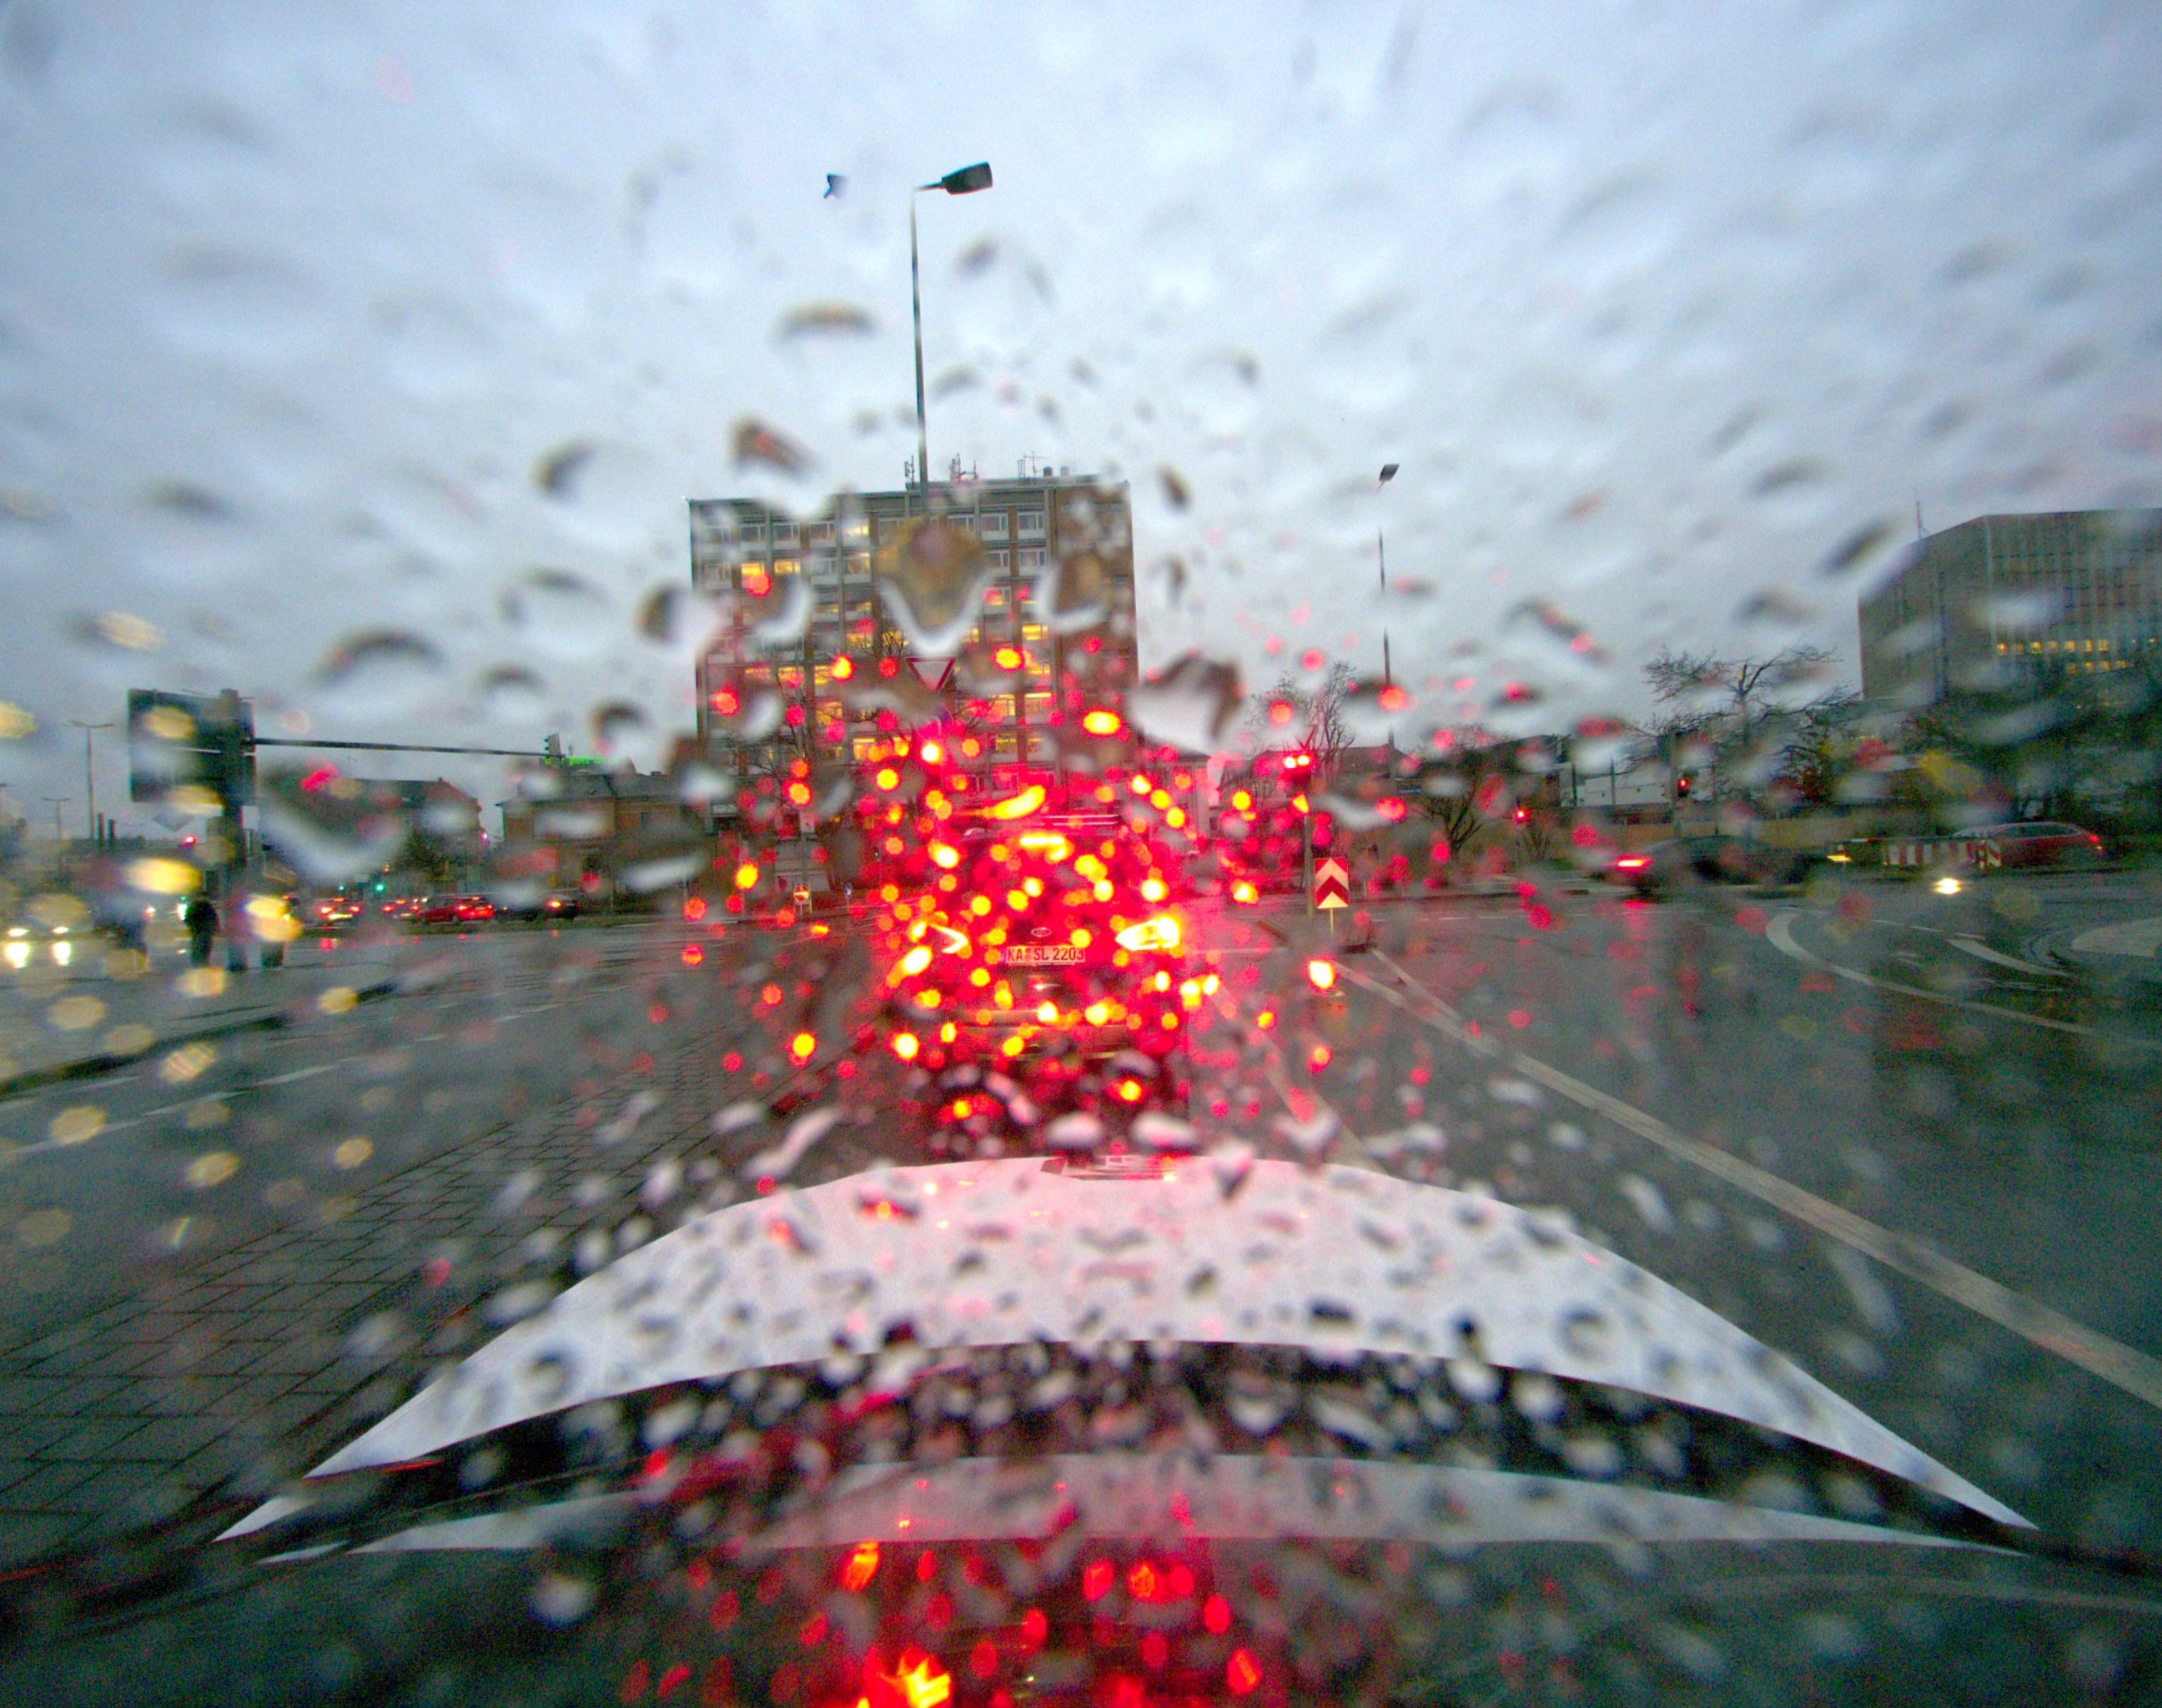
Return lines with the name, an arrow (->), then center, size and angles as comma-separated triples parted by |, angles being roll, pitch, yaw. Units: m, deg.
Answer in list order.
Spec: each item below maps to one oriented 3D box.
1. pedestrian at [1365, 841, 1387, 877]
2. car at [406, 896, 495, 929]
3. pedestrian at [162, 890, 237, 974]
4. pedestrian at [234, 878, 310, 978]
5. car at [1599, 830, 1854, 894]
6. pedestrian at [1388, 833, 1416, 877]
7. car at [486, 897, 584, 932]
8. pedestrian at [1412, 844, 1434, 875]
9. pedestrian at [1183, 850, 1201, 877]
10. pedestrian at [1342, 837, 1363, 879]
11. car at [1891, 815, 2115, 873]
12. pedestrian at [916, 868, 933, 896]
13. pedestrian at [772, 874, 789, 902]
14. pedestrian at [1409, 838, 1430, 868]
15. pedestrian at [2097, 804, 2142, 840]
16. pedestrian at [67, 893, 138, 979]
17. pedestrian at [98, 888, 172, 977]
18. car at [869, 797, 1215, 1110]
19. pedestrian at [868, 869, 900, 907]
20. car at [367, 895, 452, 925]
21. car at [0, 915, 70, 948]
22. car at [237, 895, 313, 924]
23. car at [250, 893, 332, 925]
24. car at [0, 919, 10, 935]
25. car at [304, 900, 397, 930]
pedestrian -> 15.490, 0.265, 42.783 | 0.988, 1.799, 0.924 | -3, 0, 19
car -> -33.330, 3.057, 43.076 | 3.954, 1.568, 1.836 | -1, -1, 20
pedestrian -> -19.544, 1.707, 18.074 | 0.653, 1.755, 0.856 | -3, 0, 18
pedestrian -> -17.321, 1.553, 17.464 | 0.996, 2.021, 0.792 | -3, 0, -39
car -> 16.058, 0.217, 20.525 | 4.655, 1.302, 1.944 | -3, -1, 10
pedestrian -> 15.989, 0.058, 40.620 | 0.892, 2.113, 0.883 | -3, 0, -7
car -> -27.095, 2.989, 40.461 | 3.958, 1.568, 1.834 | -1, -1, 14
pedestrian -> 17.363, 0.267, 41.383 | 0.916, 1.533, 1.048 | -3, 0, 22
pedestrian -> 6.883, 0.588, 50.425 | 0.712, 1.628, 0.766 | -3, 0, 44
pedestrian -> 14.011, 0.199, 42.062 | 0.887, 2.113, 0.889 | -3, 0, 13
car -> 27.964, -0.288, 24.844 | 4.390, 1.477, 1.814 | -3, -1, 6
pedestrian -> -9.296, 1.677, 48.410 | 0.754, 1.628, 0.559 | -3, 0, 14
pedestrian -> -19.019, 2.146, 51.586 | 0.634, 1.688, 0.640 | -3, 0, 18
pedestrian -> 17.664, -0.068, 42.455 | 0.886, 1.533, 0.890 | -3, 0, 19
pedestrian -> 48.351, -1.487, 37.920 | 0.956, 1.603, 0.796 | -3, 0, 9
pedestrian -> -21.478, 1.781, 17.886 | 0.741, 1.770, 0.546 | -3, 0, -12
pedestrian -> -20.828, 1.712, 17.949 | 0.733, 1.838, 0.674 | -3, 0, -11
car -> -0.165, 0.591, 6.688 | 1.986, 1.789, 4.001 | 0, -1, 2
pedestrian -> -10.321, 1.756, 42.749 | 0.993, 1.842, 1.145 | -3, 2, 20
car -> -38.404, 3.176, 46.620 | 1.496, 1.461, 3.453 | -1, -1, 31
car -> -55.155, 4.067, 42.473 | 4.537, 1.477, 1.821 | -3, -1, 22
car -> -53.095, 3.616, 53.665 | 1.505, 1.702, 3.411 | -1, -1, 39
car -> -51.160, 3.532, 52.772 | 1.649, 1.826, 3.609 | -1, -1, 39
car -> -112.441, 7.637, 83.940 | 1.749, 1.509, 3.951 | -3, 0, -43
car -> -43.822, 3.623, 48.919 | 1.582, 1.482, 3.840 | -1, -1, 31
